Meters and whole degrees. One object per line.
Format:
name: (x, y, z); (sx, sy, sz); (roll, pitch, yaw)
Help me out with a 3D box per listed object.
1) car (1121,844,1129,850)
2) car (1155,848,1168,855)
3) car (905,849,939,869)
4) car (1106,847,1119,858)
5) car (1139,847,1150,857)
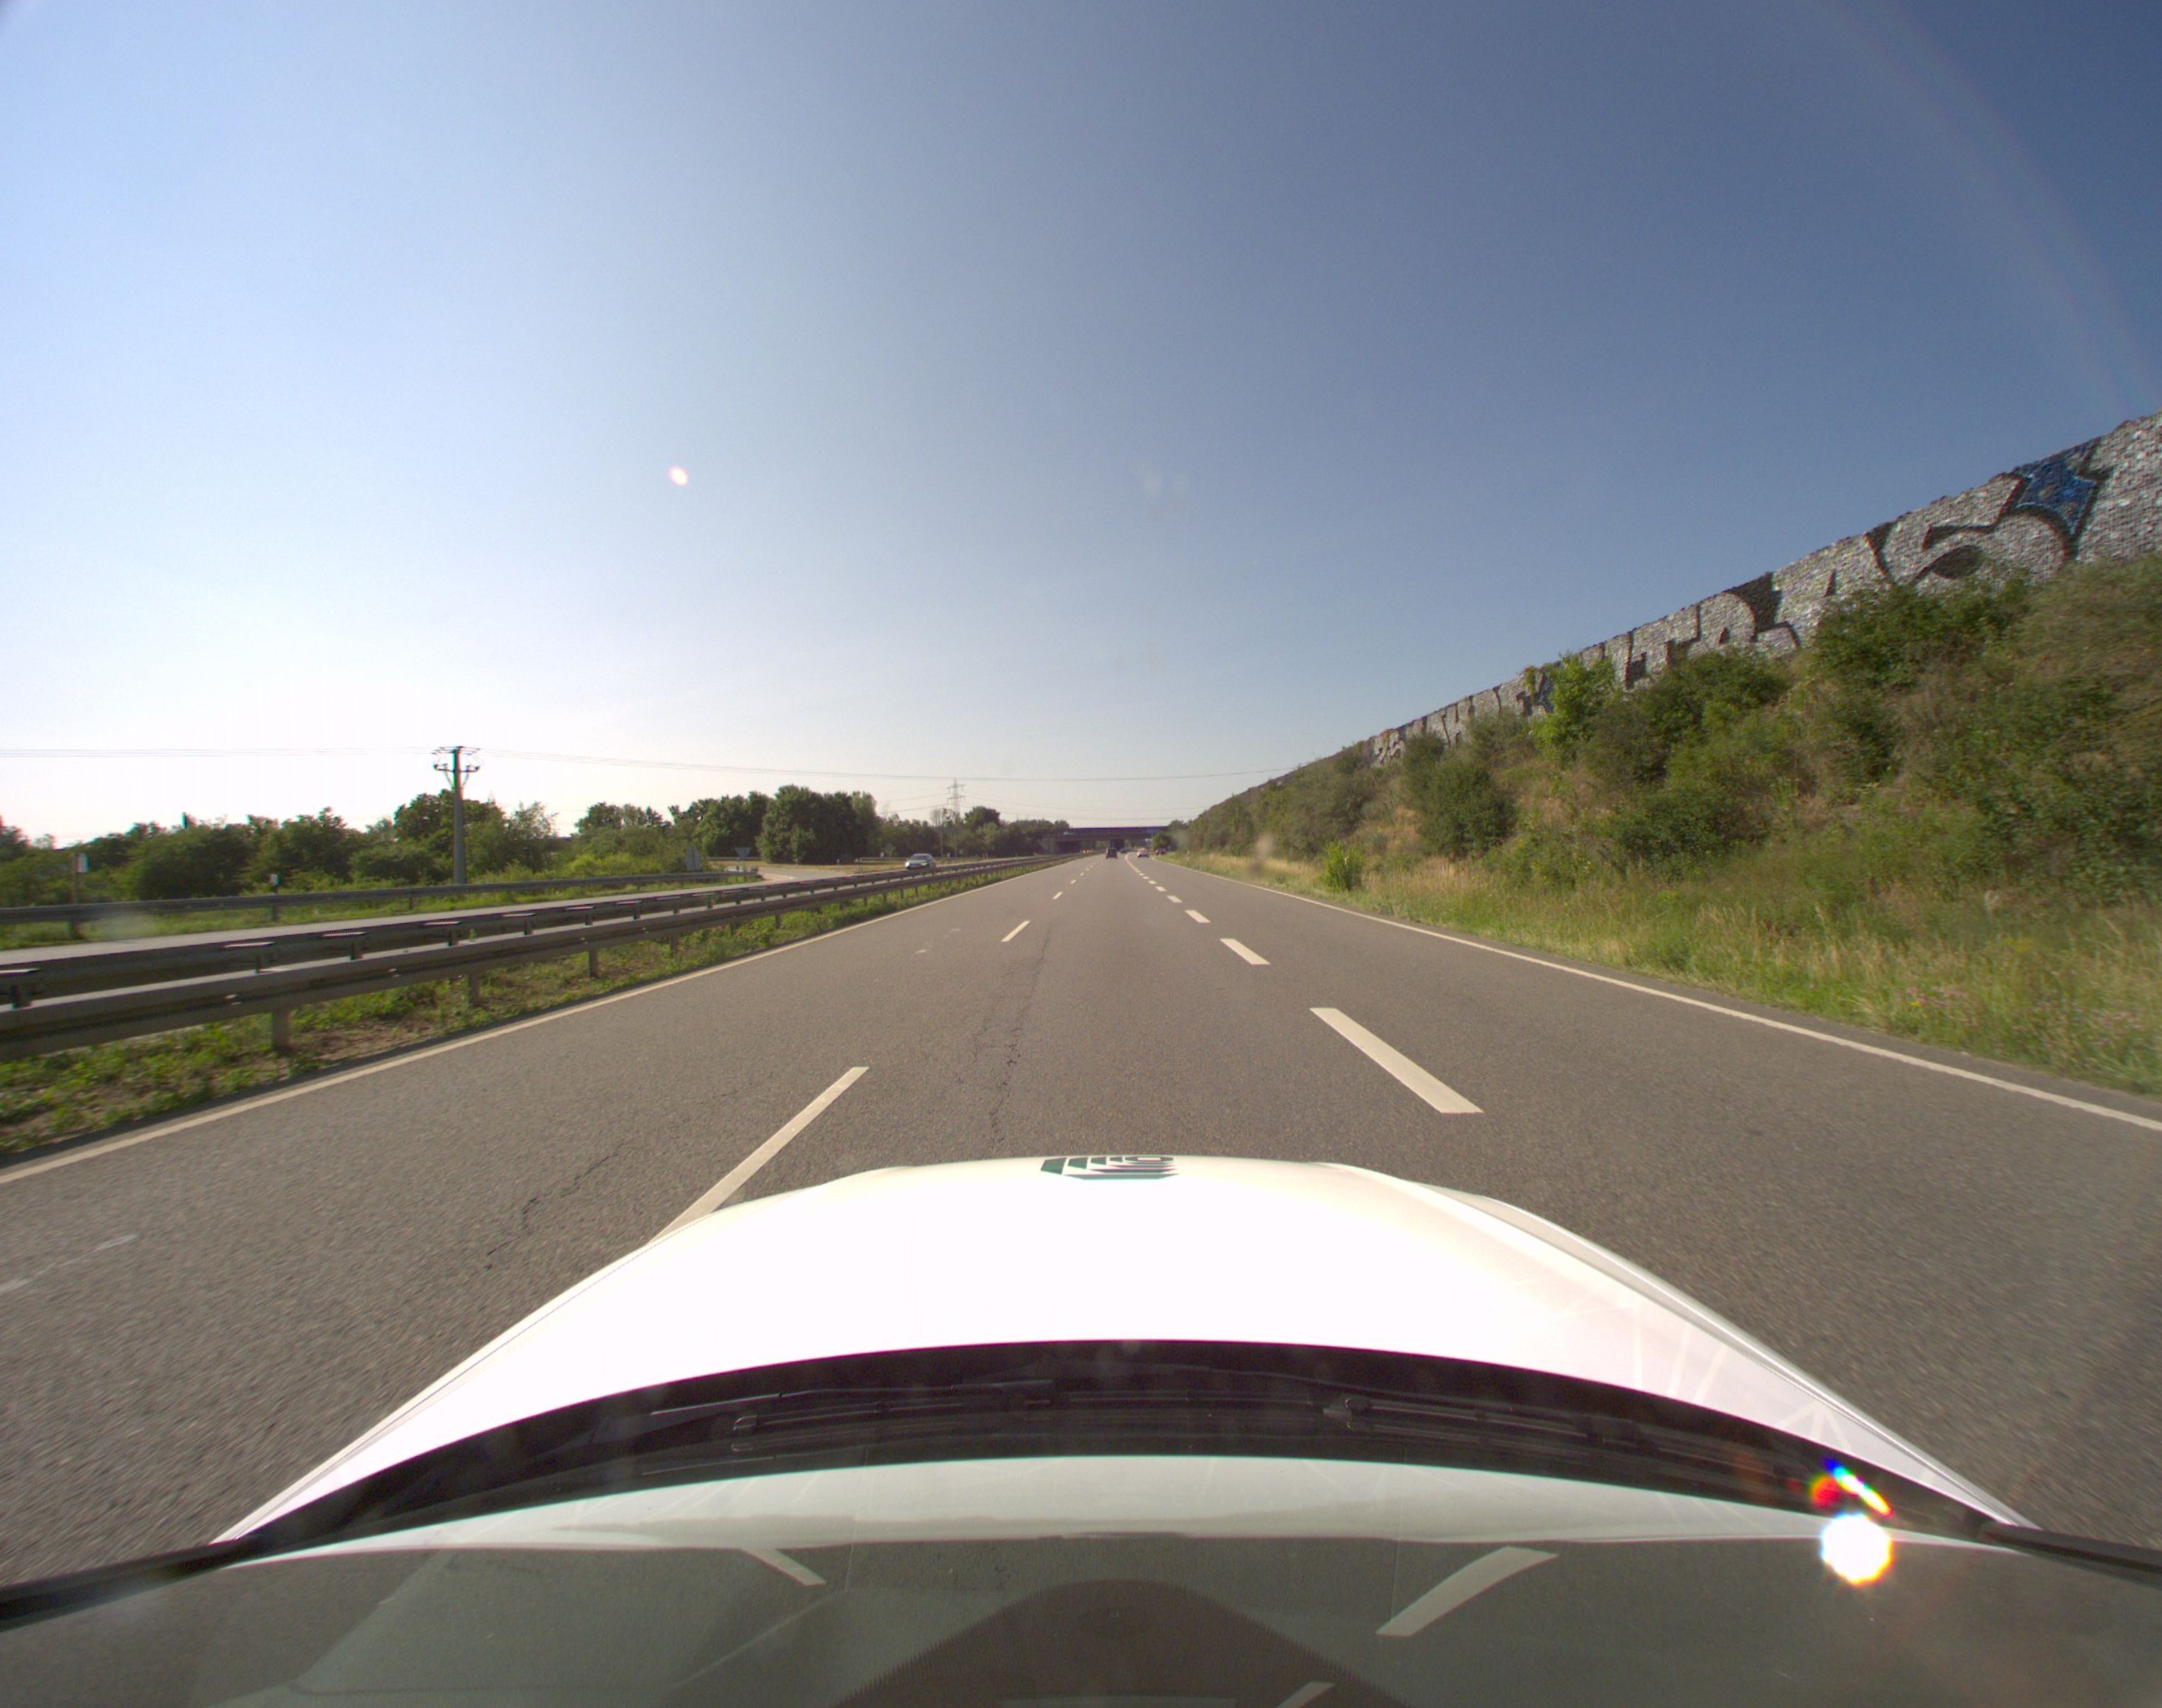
car: (11.674, -1.810, 217.146); (1.841, 1.644, 4.005); (-1, 0, 5)
car: (16.564, -0.460, 167.347); (1.888, 1.297, 4.016); (1, 1, 15)
car: (-12.664, 0.338, 65.007); (1.694, 1.485, 4.622); (1, 1, 1)
car: (5.001, -0.202, 128.909); (1.841, 1.644, 4.005); (-1, 0, 5)
car: (10.568, -0.377, 135.577); (1.787, 1.665, 4.006); (1, 1, 5)
